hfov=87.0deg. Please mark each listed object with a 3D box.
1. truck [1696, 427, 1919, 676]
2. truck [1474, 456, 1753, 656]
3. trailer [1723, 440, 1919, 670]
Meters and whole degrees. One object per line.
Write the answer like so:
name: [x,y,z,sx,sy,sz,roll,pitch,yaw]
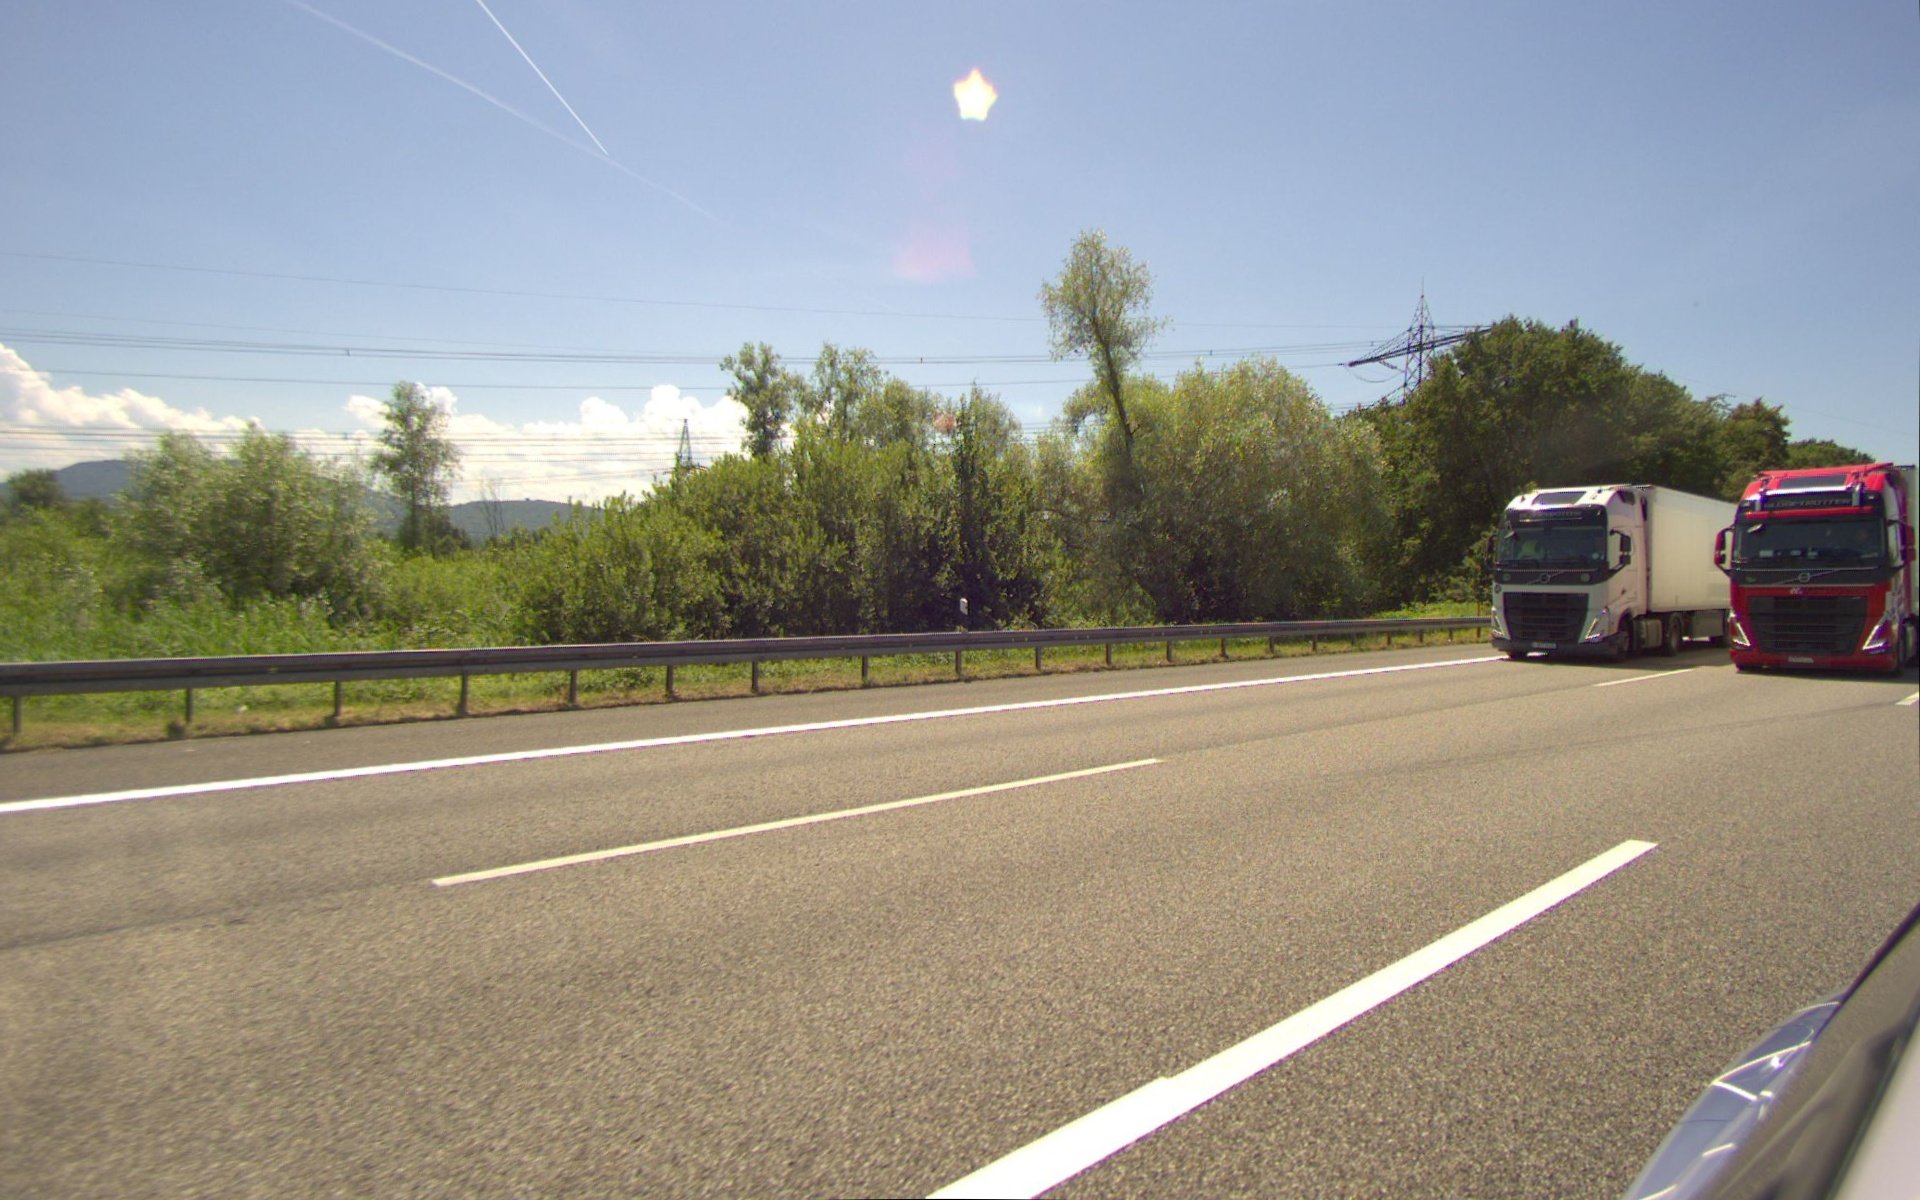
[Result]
truck: [16.759,-0.819,19.526,5.996,4.036,2.945,0,0,-42]
truck: [16.891,-0.979,25.646,10.785,4.144,3.031,-1,0,-41]
trailer: [22.052,-0.880,24.314,15.922,4.068,2.942,-1,0,-42]
